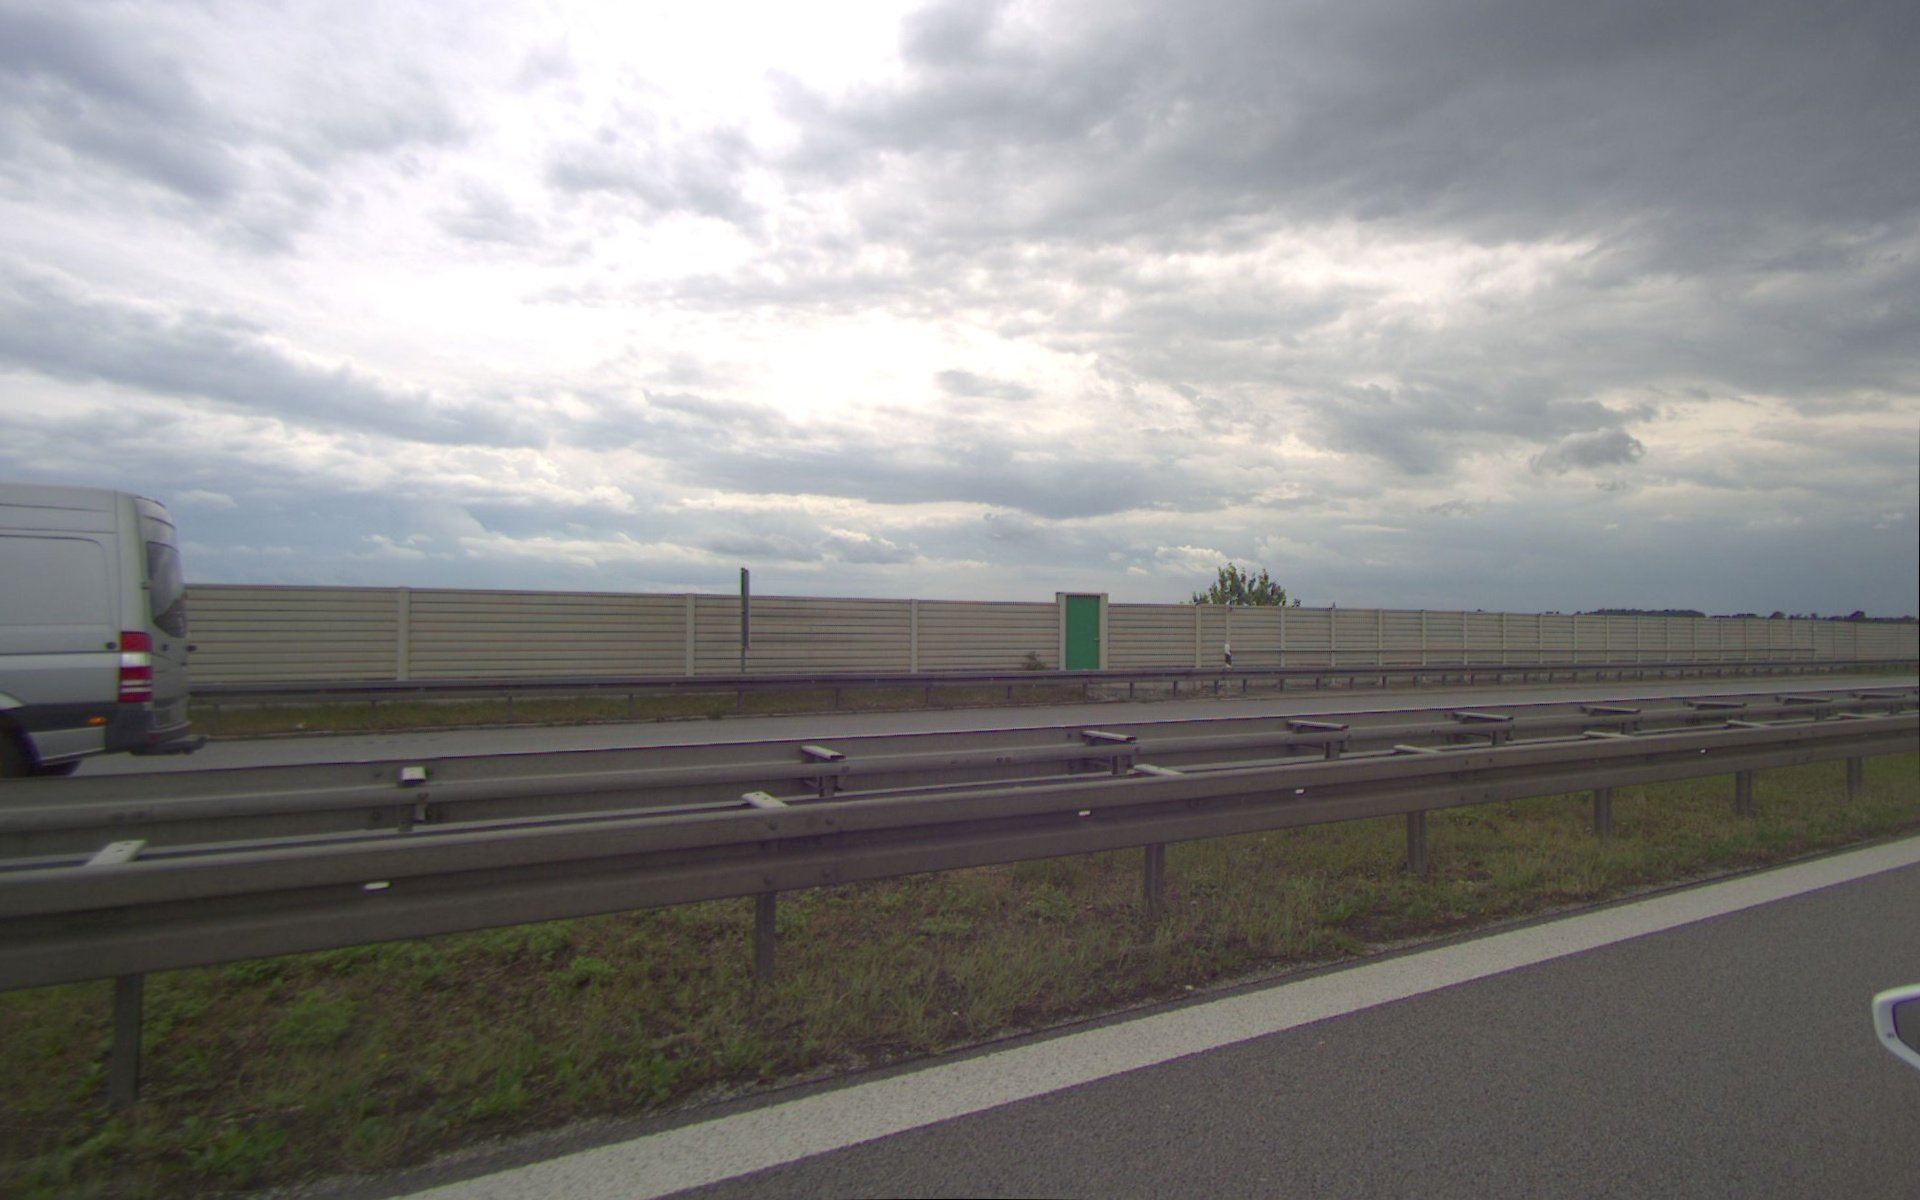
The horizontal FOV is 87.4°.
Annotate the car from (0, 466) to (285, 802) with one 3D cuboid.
[{"bbox_3d":[-9.293,0.283,8.045,6.215,2.636,2.062,2,-4,-30],"label":"car"}]
